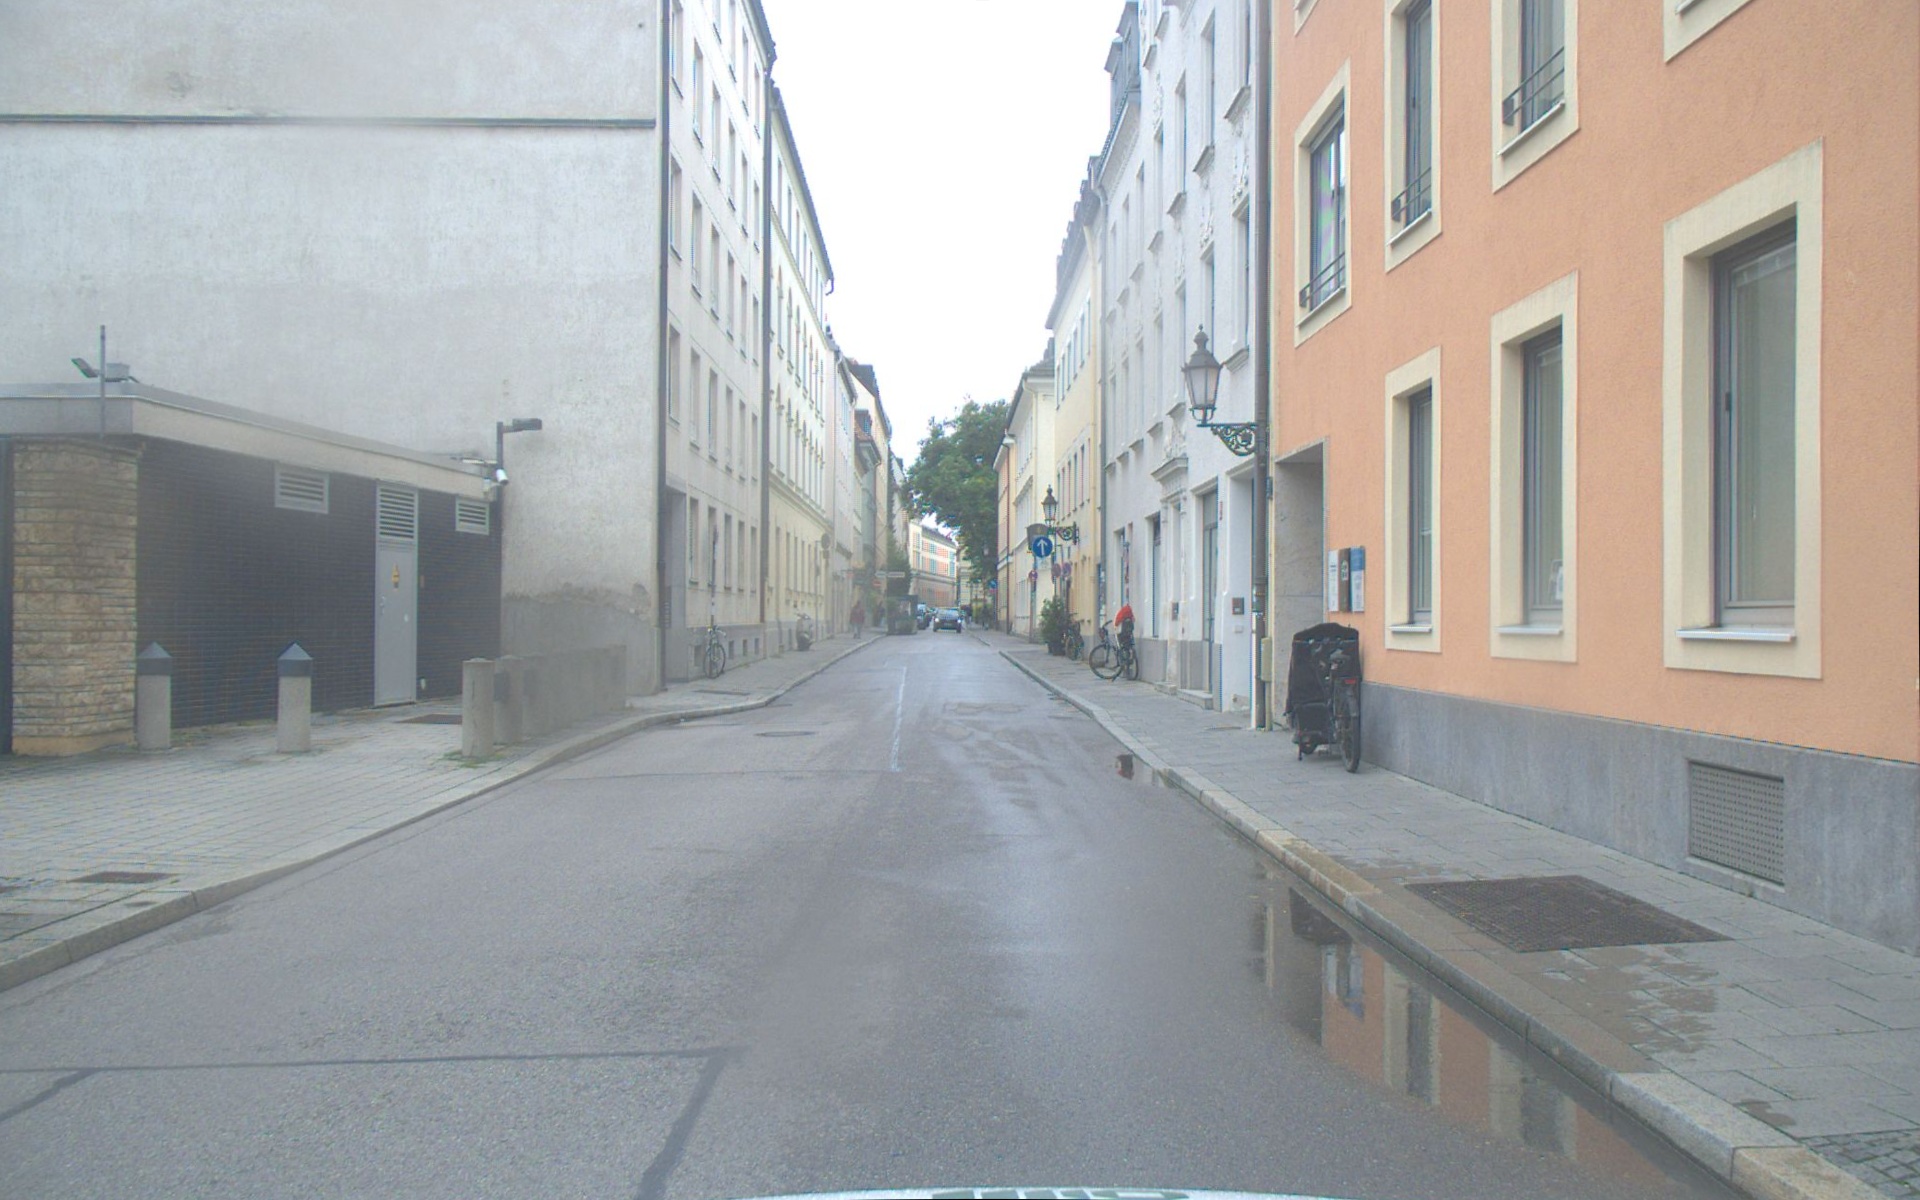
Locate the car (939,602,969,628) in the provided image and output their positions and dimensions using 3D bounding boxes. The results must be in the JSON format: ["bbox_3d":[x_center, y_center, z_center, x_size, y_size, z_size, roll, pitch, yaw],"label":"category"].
[{"bbox_3d":[-0.388,0.920,105.325,1.775,1.622,3.998,0,0,-2],"label":"car"}]

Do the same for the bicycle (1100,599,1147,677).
[{"bbox_3d":[3.124,0.707,31.705,0.698,1.420,2.122,-2,0,2],"label":"bicycle"}]

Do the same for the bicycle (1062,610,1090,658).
[{"bbox_3d":[2.997,0.865,42.789,0.554,1.157,1.987,-2,0,0],"label":"bicycle"}]

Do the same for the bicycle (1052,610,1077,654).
[{"bbox_3d":[2.838,0.863,45.005,0.554,1.157,1.684,-2,0,0],"label":"bicycle"}]

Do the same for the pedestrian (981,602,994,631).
[{"bbox_3d":[1.796,1.085,108.021,0.862,1.833,1.046,1,0,0],"label":"pedestrian"}]

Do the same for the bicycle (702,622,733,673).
[{"bbox_3d":[-4.764,0.923,32.517,0.313,0.960,1.574,3,0,1],"label":"bicycle"}]

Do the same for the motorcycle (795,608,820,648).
[{"bbox_3d":[-4.679,0.834,50.737,0.590,1.194,1.708,1,0,0],"label":"motorcycle"}]

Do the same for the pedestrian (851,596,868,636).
[{"bbox_3d":[-4.484,0.715,73.925,0.750,1.738,0.785,0,0,-3],"label":"pedestrian"}]

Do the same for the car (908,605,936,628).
[{"bbox_3d":[-2.616,1.118,114.115,1.742,1.492,3.663,1,0,2],"label":"car"}]

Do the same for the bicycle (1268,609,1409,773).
[{"bbox_3d":[3.332,0.754,14.764,0.665,1.261,2.382,-4,0,1],"label":"bicycle"}]
